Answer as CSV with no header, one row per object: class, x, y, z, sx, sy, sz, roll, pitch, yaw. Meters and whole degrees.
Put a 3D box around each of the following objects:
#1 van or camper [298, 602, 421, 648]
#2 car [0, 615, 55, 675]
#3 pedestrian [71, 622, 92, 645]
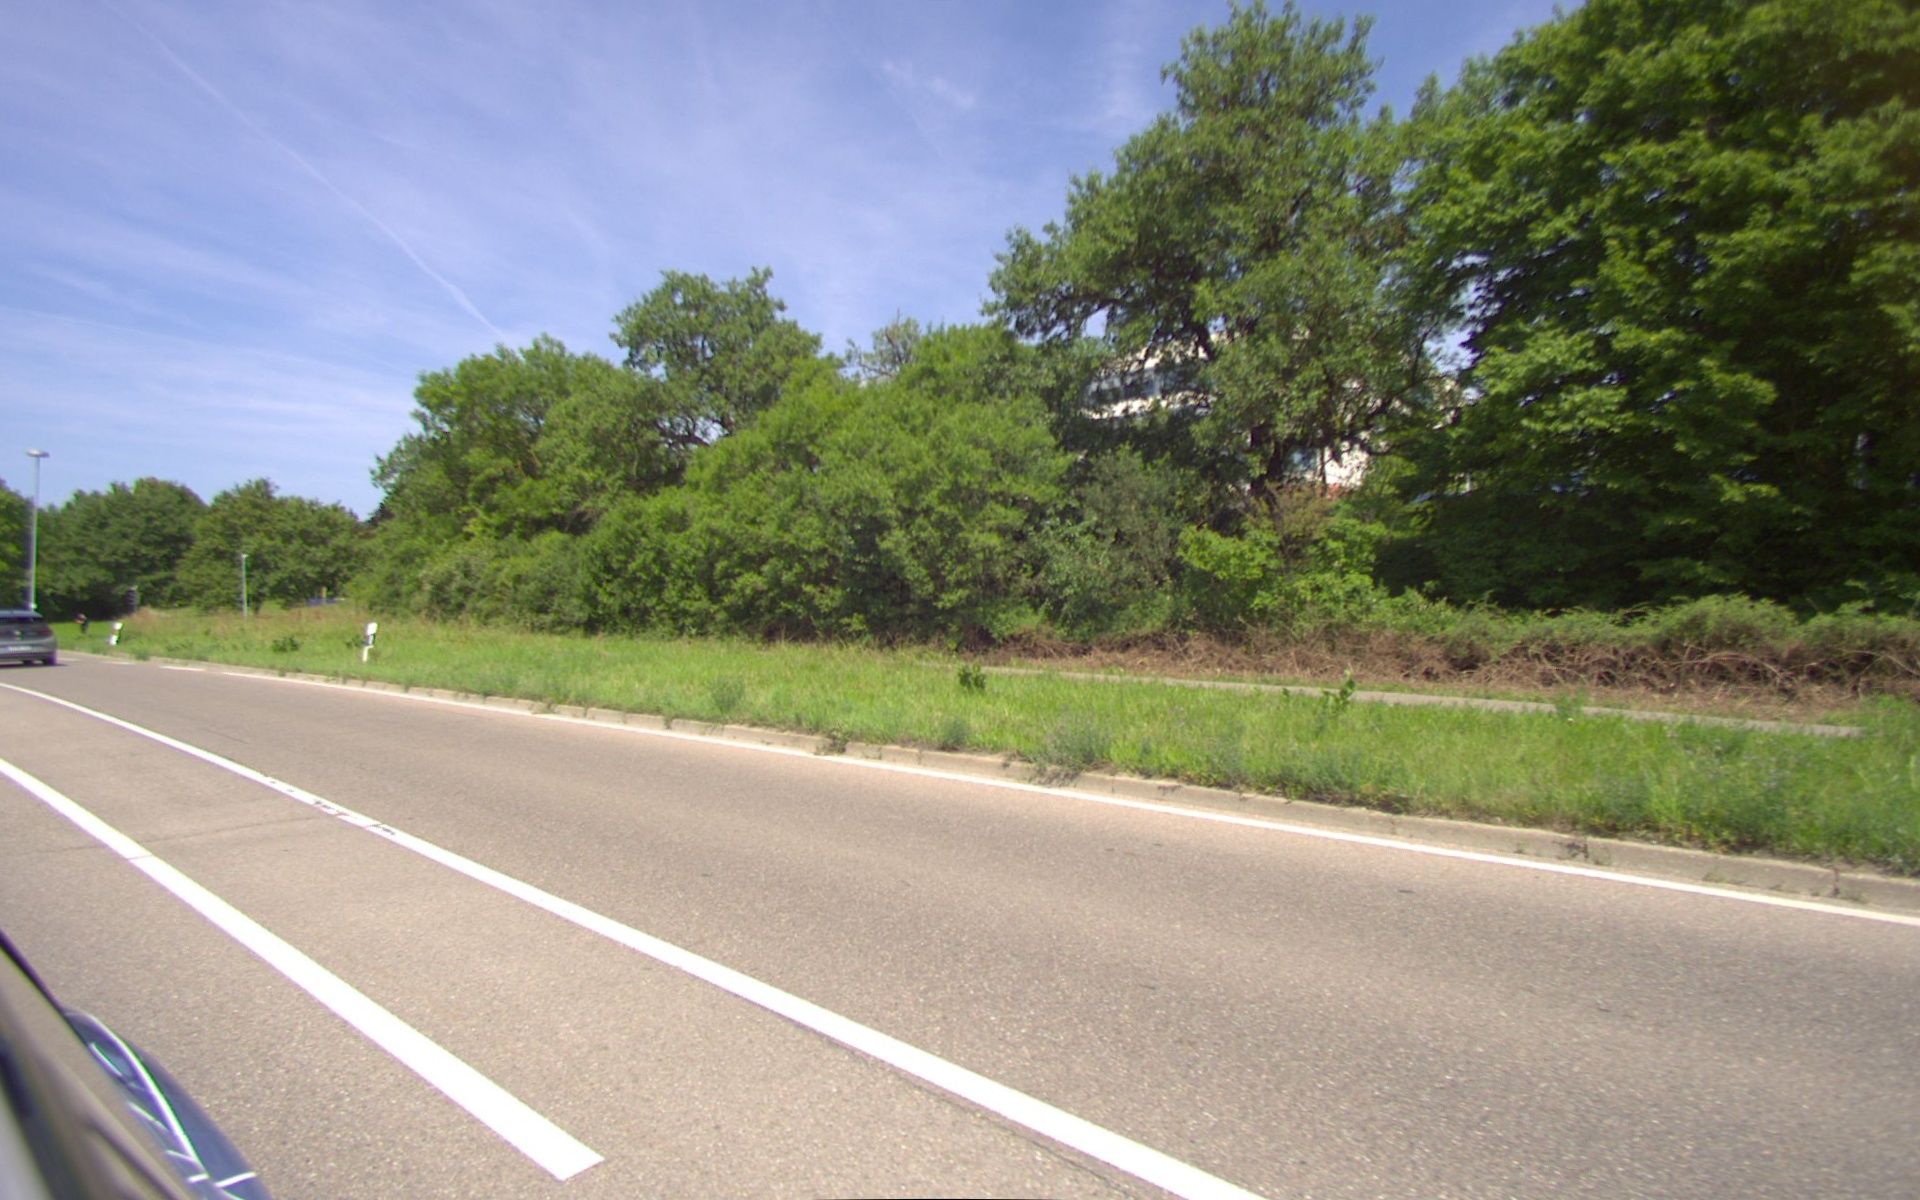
van or camper,-42.324,1.848,71.520,7.133,2.936,2.250,4,-6,-41
car,-26.802,1.227,28.161,4.223,1.546,1.737,-1,0,39
pedestrian,-66.937,2.542,77.112,0.906,1.749,0.902,-2,1,-25
